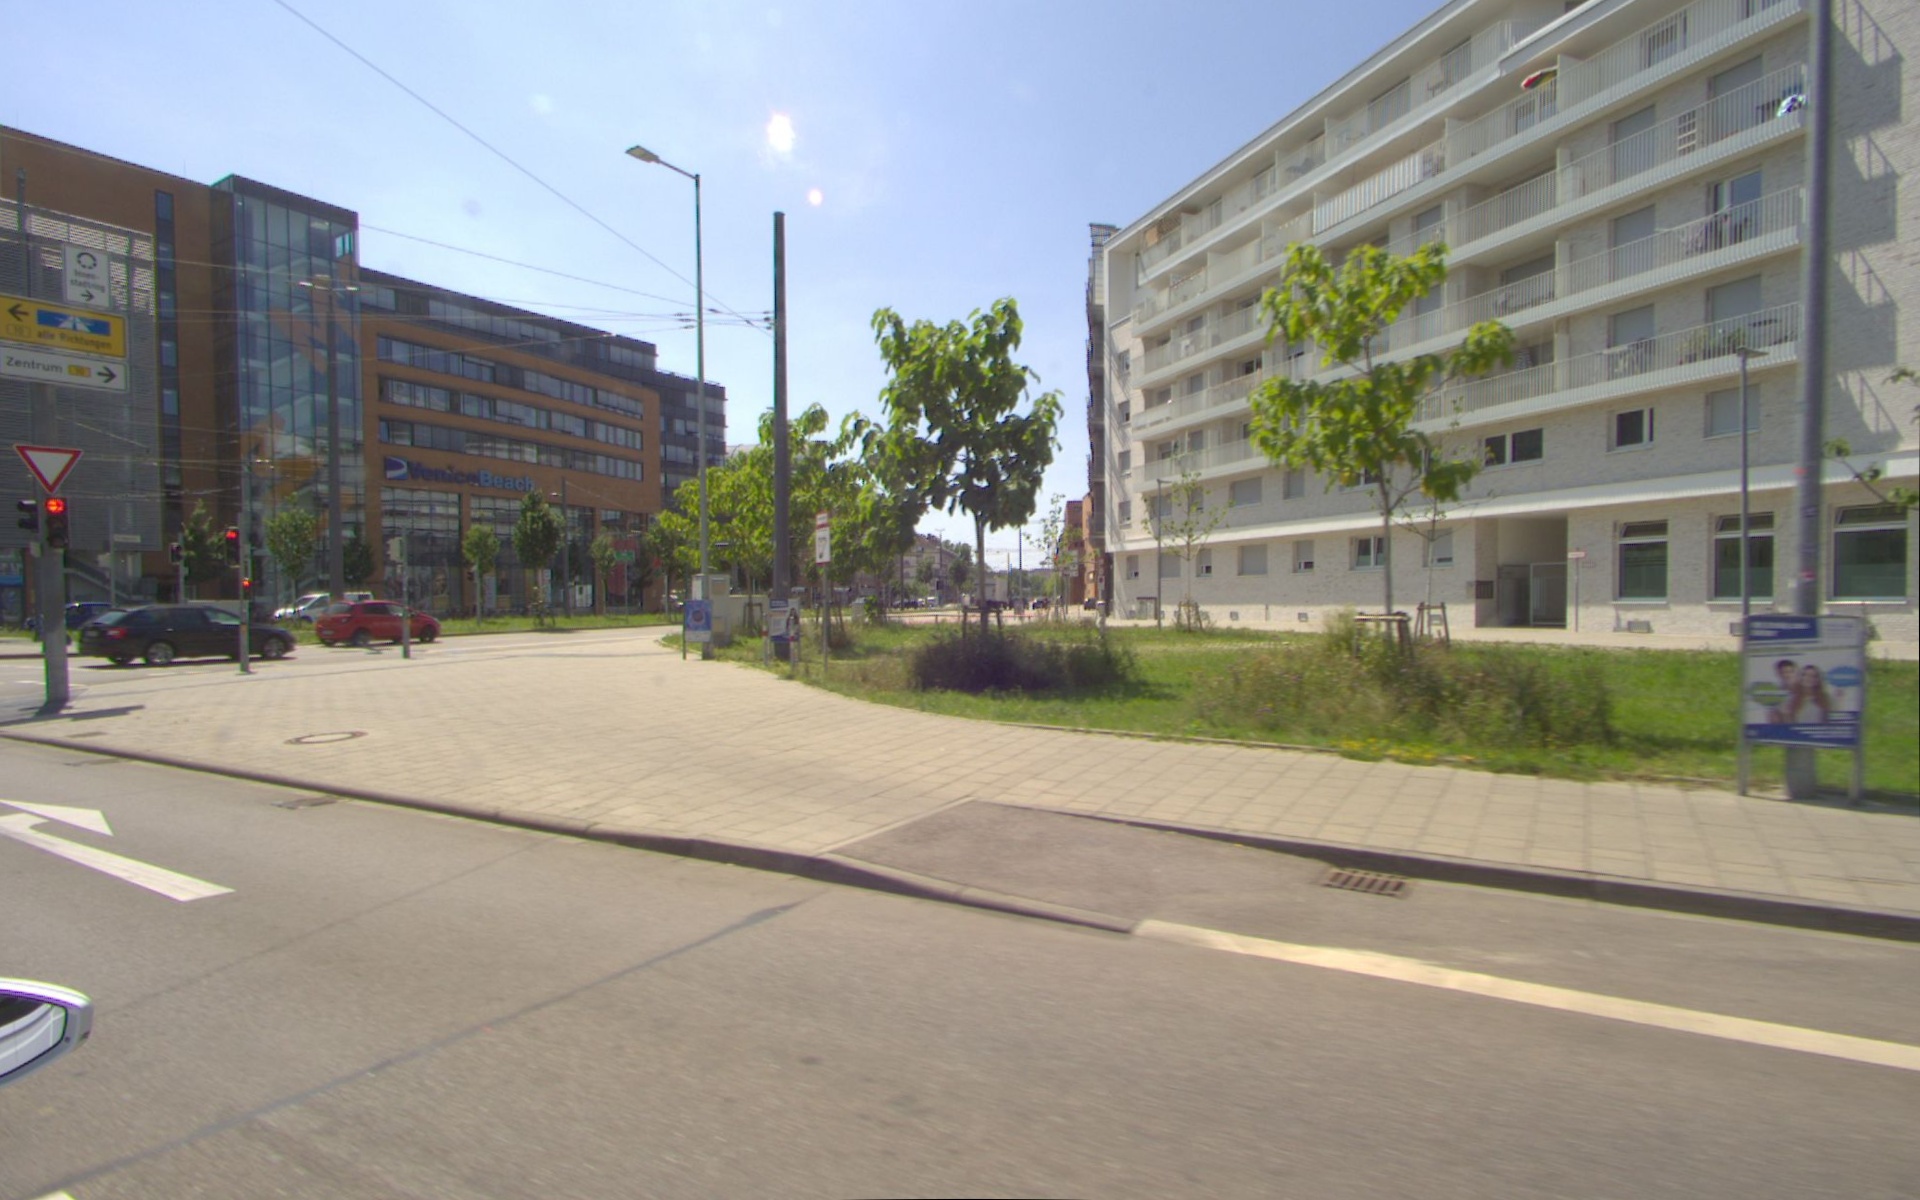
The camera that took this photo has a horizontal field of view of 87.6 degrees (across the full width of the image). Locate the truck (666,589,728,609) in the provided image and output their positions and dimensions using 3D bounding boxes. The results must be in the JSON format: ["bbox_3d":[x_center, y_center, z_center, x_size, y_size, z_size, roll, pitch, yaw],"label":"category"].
[{"bbox_3d":[-39.667,-0.168,151.079,9.065,2.846,1.999,1,0,11],"label":"truck"}]

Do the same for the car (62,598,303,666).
[{"bbox_3d":[-19.575,0.736,25.471,1.812,1.528,4.525,1,1,25],"label":"car"}]

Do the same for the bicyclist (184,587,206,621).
[{"bbox_3d":[-46.558,0.239,60.948,0.738,2.040,0.910,1,1,33],"label":"bicyclist"}]

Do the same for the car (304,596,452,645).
[{"bbox_3d":[-19.619,0.673,33.974,1.810,1.528,4.130,1,0,21],"label":"car"}]

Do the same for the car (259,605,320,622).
[{"bbox_3d":[-42.789,0.859,63.928,1.329,1.049,2.990,1,0,29],"label":"car"}]

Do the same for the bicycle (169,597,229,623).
[{"bbox_3d":[-46.459,0.612,61.183,0.695,1.578,2.842,1,0,34],"label":"bicycle"}]

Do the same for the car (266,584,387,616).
[{"bbox_3d":[-35.193,0.023,55.828,1.968,1.690,5.462,1,0,26],"label":"car"}]

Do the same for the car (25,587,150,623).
[{"bbox_3d":[-40.071,0.238,46.081,1.853,1.559,3.982,1,0,30],"label":"car"}]
